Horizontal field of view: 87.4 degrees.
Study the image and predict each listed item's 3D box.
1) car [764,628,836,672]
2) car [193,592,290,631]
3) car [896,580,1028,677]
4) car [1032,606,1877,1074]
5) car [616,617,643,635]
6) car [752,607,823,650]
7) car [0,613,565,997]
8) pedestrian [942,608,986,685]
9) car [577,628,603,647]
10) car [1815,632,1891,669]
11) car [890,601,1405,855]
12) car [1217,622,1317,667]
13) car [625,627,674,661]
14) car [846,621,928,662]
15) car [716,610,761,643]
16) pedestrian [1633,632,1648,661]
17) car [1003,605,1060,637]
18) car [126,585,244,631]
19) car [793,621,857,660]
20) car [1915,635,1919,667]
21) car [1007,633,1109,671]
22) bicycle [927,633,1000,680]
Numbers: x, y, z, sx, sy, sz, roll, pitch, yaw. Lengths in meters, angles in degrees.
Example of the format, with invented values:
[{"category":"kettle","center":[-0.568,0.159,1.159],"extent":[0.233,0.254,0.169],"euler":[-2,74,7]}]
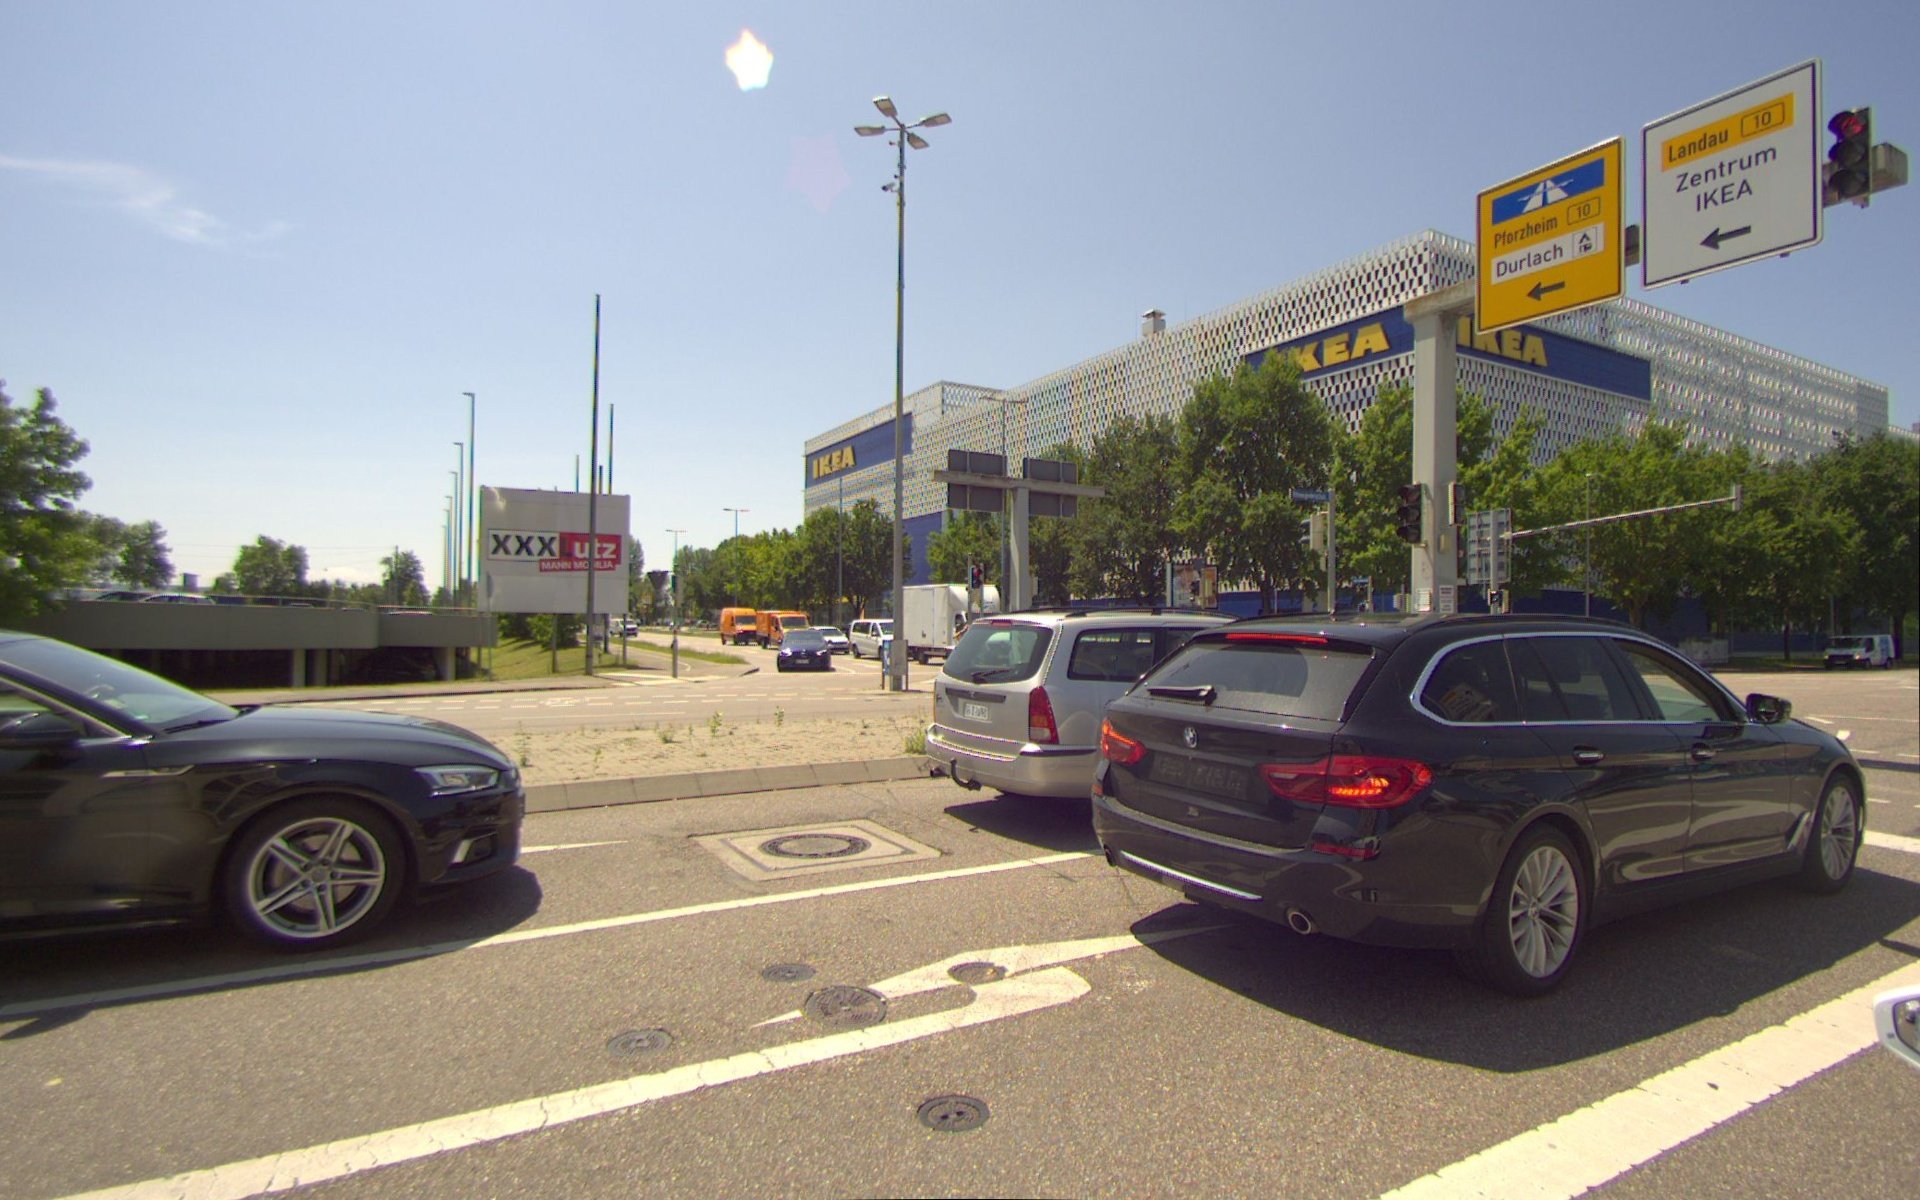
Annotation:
[{"category":"car","center":[-5.993,1.829,37.260],"extent":[1.904,1.528,3.981],"euler":[1,-2,-21]},{"category":"car","center":[-37.201,0.628,52.124],"extent":[3.957,1.933,1.982],"euler":[1,-2,-33]},{"category":"car","center":[-0.075,1.106,40.084],"extent":[2.156,3.532,6.873],"euler":[-1,-1,-29]},{"category":"car","center":[2.742,0.801,5.180],"extent":[4.571,1.485,1.790],"euler":[1,-1,-32]},{"category":"car","center":[-36.144,2.866,109.925],"extent":[1.976,1.930,4.777],"euler":[0,-1,-29]},{"category":"car","center":[-10.811,1.801,62.511],"extent":[2.542,2.568,6.585],"euler":[1,-2,-27]},{"category":"car","center":[-4.195,0.763,4.318],"extent":[4.478,1.409,1.740],"euler":[0,-1,-29]},{"category":"pedestrian","center":[0.109,1.255,27.358],"extent":[0.856,2.040,0.898],"euler":[1,-2,-36]},{"category":"car","center":[-33.791,3.381,91.778],"extent":[1.718,1.708,3.641],"euler":[1,-2,-29]},{"category":"car","center":[51.874,2.929,58.354],"extent":[4.709,2.034,1.984],"euler":[2,-3,-31]},{"category":"car","center":[1.597,0.805,7.903],"extent":[3.963,1.514,1.785],"euler":[1,-1,-37]},{"category":"car","center":[12.217,1.741,40.235],"extent":[1.689,1.673,4.190],"euler":[1,-1,-20]},{"category":"car","center":[-19.235,2.676,62.162],"extent":[1.816,2.040,3.962],"euler":[1,-2,-35]},{"category":"car","center":[-3.505,1.929,47.246],"extent":[1.974,1.835,5.436],"euler":[1,-2,-26]},{"category":"car","center":[-16.150,1.932,72.913],"extent":[1.973,2.318,5.846],"euler":[1,-2,-25]},{"category":"pedestrian","center":[36.345,2.486,53.659],"extent":[0.477,1.502,0.460],"euler":[1,-2,-27]},{"category":"car","center":[4.726,1.387,66.692],"extent":[1.976,2.040,3.970],"euler":[1,-1,-29]},{"category":"car","center":[-34.692,0.402,45.114],"extent":[3.954,1.957,1.984],"euler":[1,-2,-31]},{"category":"car","center":[-7.458,2.236,55.159],"extent":[1.975,2.040,4.680],"euler":[1,-2,-28]},{"category":"car","center":[51.548,2.671,52.047],"extent":[4.445,1.619,1.866],"euler":[2,-3,-31]},{"category":"car","center":[3.733,1.969,38.862],"extent":[1.756,1.360,4.262],"euler":[0,-2,-30]},{"category":"bicycle","center":[0.077,1.509,27.375],"extent":[0.987,1.229,2.078],"euler":[1,-2,-36]}]
